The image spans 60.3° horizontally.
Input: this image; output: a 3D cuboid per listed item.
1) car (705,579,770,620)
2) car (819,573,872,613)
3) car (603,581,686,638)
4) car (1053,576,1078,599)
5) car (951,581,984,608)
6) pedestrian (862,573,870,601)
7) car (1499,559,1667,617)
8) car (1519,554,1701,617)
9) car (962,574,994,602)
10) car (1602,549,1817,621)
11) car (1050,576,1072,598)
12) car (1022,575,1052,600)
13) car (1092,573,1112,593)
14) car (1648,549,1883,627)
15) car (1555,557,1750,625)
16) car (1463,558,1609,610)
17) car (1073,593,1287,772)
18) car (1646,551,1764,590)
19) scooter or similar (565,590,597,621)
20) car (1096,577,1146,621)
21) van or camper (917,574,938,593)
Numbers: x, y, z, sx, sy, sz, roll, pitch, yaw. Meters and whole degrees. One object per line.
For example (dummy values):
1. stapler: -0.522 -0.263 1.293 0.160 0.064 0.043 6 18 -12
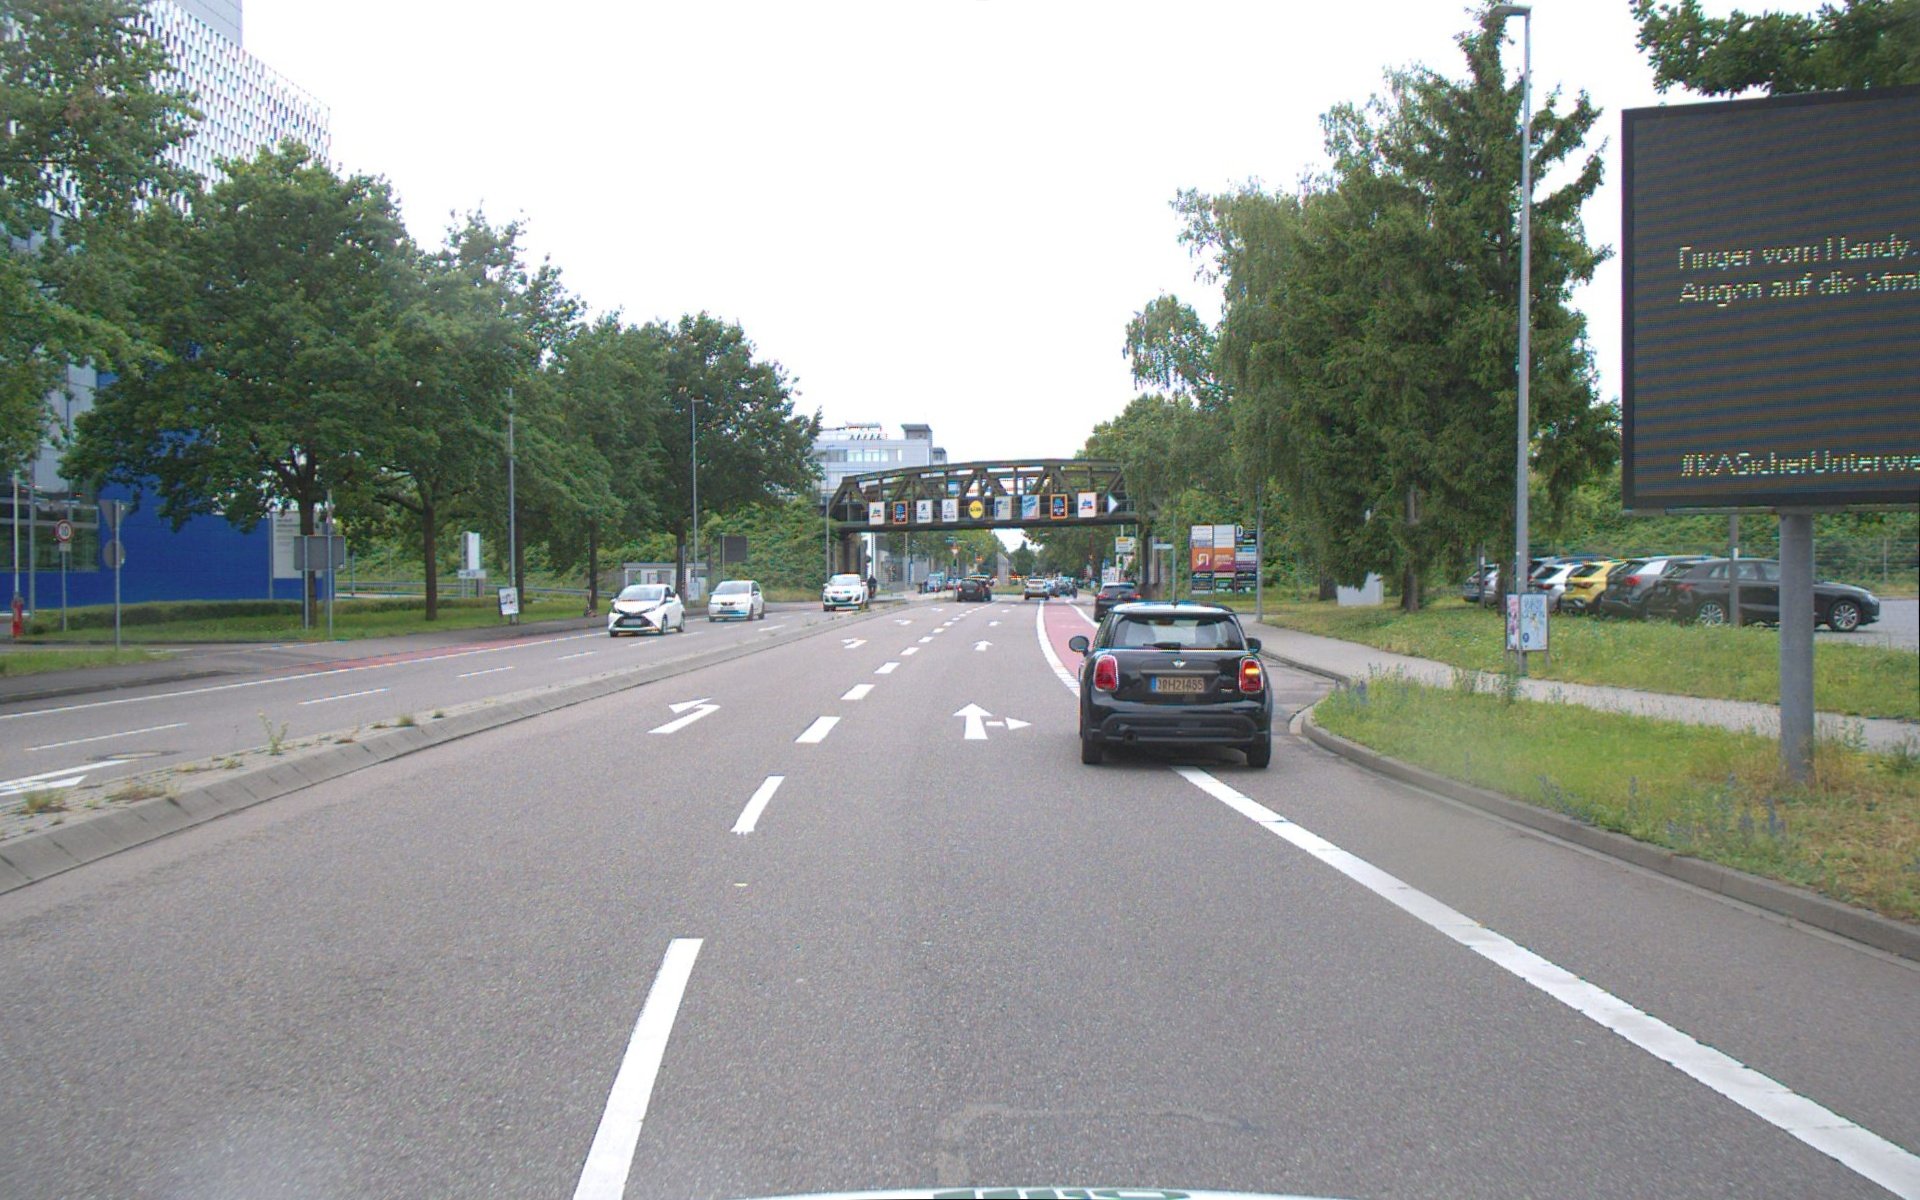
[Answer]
1. car: -8.303 -0.037 61.833 1.683 1.395 3.443 1 2 5
2. car: -5.267 -0.354 76.571 1.899 1.705 3.785 1 2 5
3. car: -9.155 0.248 48.199 1.718 1.471 3.340 1 2 1
4. car: 8.353 -1.019 131.075 1.844 1.690 3.785 1 2 5
5. car: 0.530 -0.379 111.241 1.844 1.690 3.785 1 2 5
6. pedestrian: -7.171 -0.995 126.180 0.529 2.048 0.485 1 2 14
7. car: 16.627 -0.341 44.292 3.902 1.460 1.732 1 2 9
8. car: 16.098 -0.378 41.138 3.902 1.460 1.732 1 2 9
9. car: 1.300 -0.863 118.117 1.909 1.847 4.004 1 2 5
10. car: 16.126 -0.352 35.763 3.902 1.460 1.732 1 2 9
11. car: 9.623 -1.248 157.327 1.909 1.847 4.004 1 2 5
12. car: 5.809 -0.943 124.154 2.090 1.690 3.785 1 2 5
13. car: 13.992 -1.655 162.844 1.909 1.847 4.004 1 2 5
14. car: 16.171 -0.265 33.376 3.902 1.460 1.732 1 2 9
15. car: 16.161 -0.236 38.777 3.902 1.460 1.732 1 2 9
16. car: 17.407 -0.498 50.148 3.902 1.460 1.732 1 2 9
17. car: 1.985 0.679 15.719 1.748 1.440 3.645 2 0 4
18. car: 29.543 -1.196 65.685 3.902 1.460 1.732 1 2 9
19. scooter or similar: -14.789 0.188 64.623 0.746 1.108 2.007 1 2 2
20. car: 5.839 -0.045 59.895 1.720 1.459 4.003 -1 2 6
21. van or camper: -4.405 -2.317 224.323 1.951 2.529 7.033 -1 1 7
